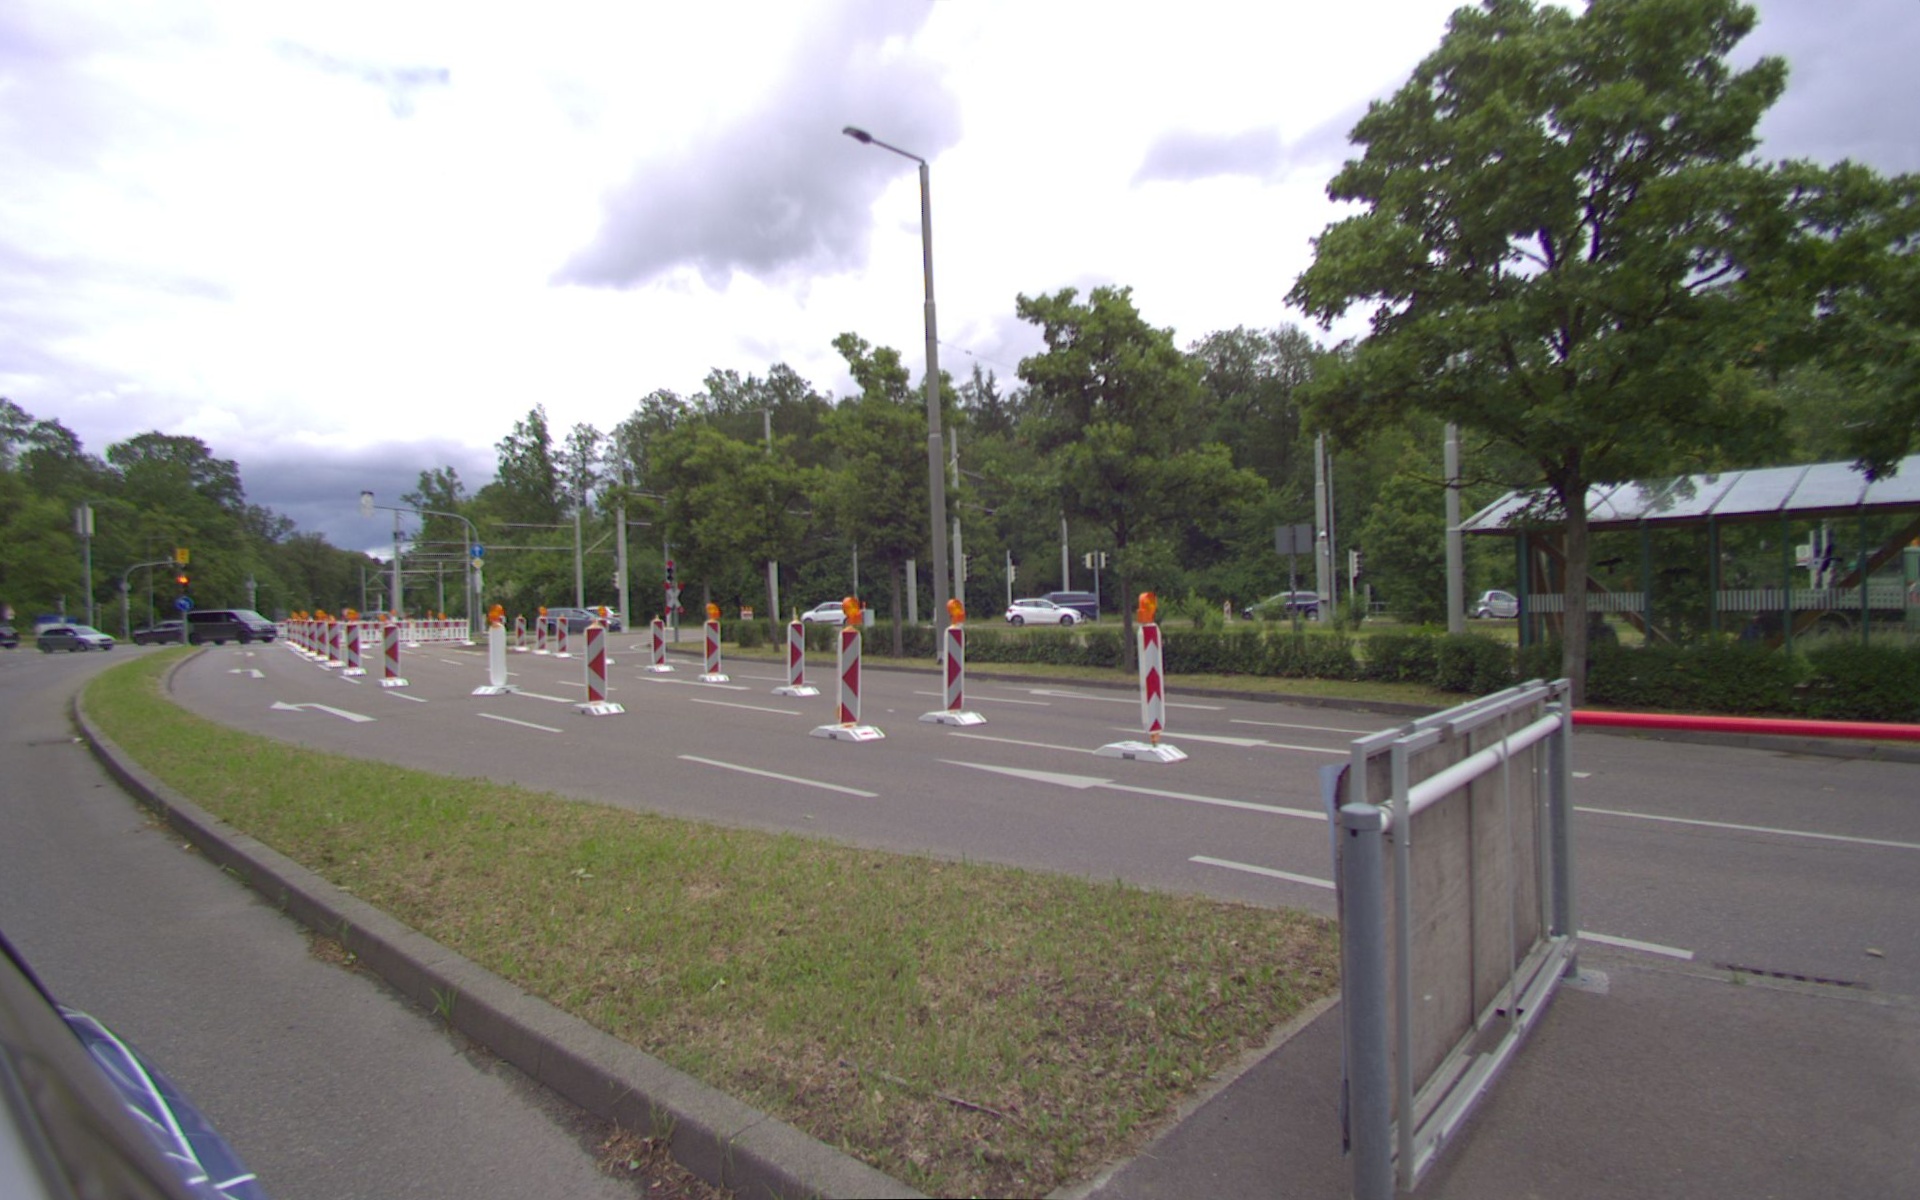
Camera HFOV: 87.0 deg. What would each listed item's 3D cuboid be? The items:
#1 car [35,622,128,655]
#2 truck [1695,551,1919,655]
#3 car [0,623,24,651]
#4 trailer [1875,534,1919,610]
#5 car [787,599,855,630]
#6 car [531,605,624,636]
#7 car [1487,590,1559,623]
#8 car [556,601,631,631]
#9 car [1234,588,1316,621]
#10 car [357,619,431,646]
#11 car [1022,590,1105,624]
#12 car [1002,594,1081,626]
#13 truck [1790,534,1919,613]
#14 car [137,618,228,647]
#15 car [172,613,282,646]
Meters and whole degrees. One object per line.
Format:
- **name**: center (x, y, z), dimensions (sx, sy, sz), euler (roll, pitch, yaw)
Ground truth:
- **car**: center (-50.172, 2.177, 57.800), dimensions (3.937, 1.652, 1.893), euler (-2, 1, 9)
- **truck**: center (21.194, 0.001, 23.339), dimensions (6.240, 2.186, 2.597), euler (-2, 1, 13)
- **car**: center (-65.109, 2.538, 67.141), dimensions (4.420, 1.740, 1.996), euler (-2, 2, 8)
- **trailer**: center (55.306, -1.652, 52.246), dimensions (11.730, 3.910, 3.779), euler (-2, 1, 8)
- **car**: center (-8.430, 0.874, 61.730), dimensions (3.744, 1.735, 1.856), euler (-2, 1, 5)
- **car**: center (-20.669, 1.110, 54.771), dimensions (4.334, 1.447, 1.794), euler (-2, 1, 5)
- **car**: center (28.041, 0.304, 50.476), dimensions (2.710, 1.486, 1.497), euler (-2, 1, 5)
- **car**: center (-22.894, 1.003, 63.288), dimensions (3.997, 1.664, 1.856), euler (-2, 1, 5)
- **car**: center (18.026, 0.239, 58.114), dimensions (4.266, 1.696, 1.993), euler (-2, 1, 12)
- **car**: center (-35.761, 2.053, 63.964), dimensions (3.795, 1.347, 1.661), euler (-2, 5, 7)
- **car**: center (6.113, 0.415, 60.181), dimensions (4.773, 1.829, 1.997), euler (-2, 1, 5)
- **car**: center (4.218, 0.498, 52.735), dimensions (3.948, 1.499, 1.767), euler (-2, 1, 4)
- **truck**: center (49.746, -1.460, 53.136), dimensions (8.669, 3.910, 3.780), euler (-2, 1, 8)
- **car**: center (-50.232, 2.063, 65.445), dimensions (4.388, 1.607, 1.881), euler (-2, 1, -1)
- **car**: center (-41.201, 1.660, 56.980), dimensions (4.845, 1.599, 1.956), euler (-2, 1, 3)
